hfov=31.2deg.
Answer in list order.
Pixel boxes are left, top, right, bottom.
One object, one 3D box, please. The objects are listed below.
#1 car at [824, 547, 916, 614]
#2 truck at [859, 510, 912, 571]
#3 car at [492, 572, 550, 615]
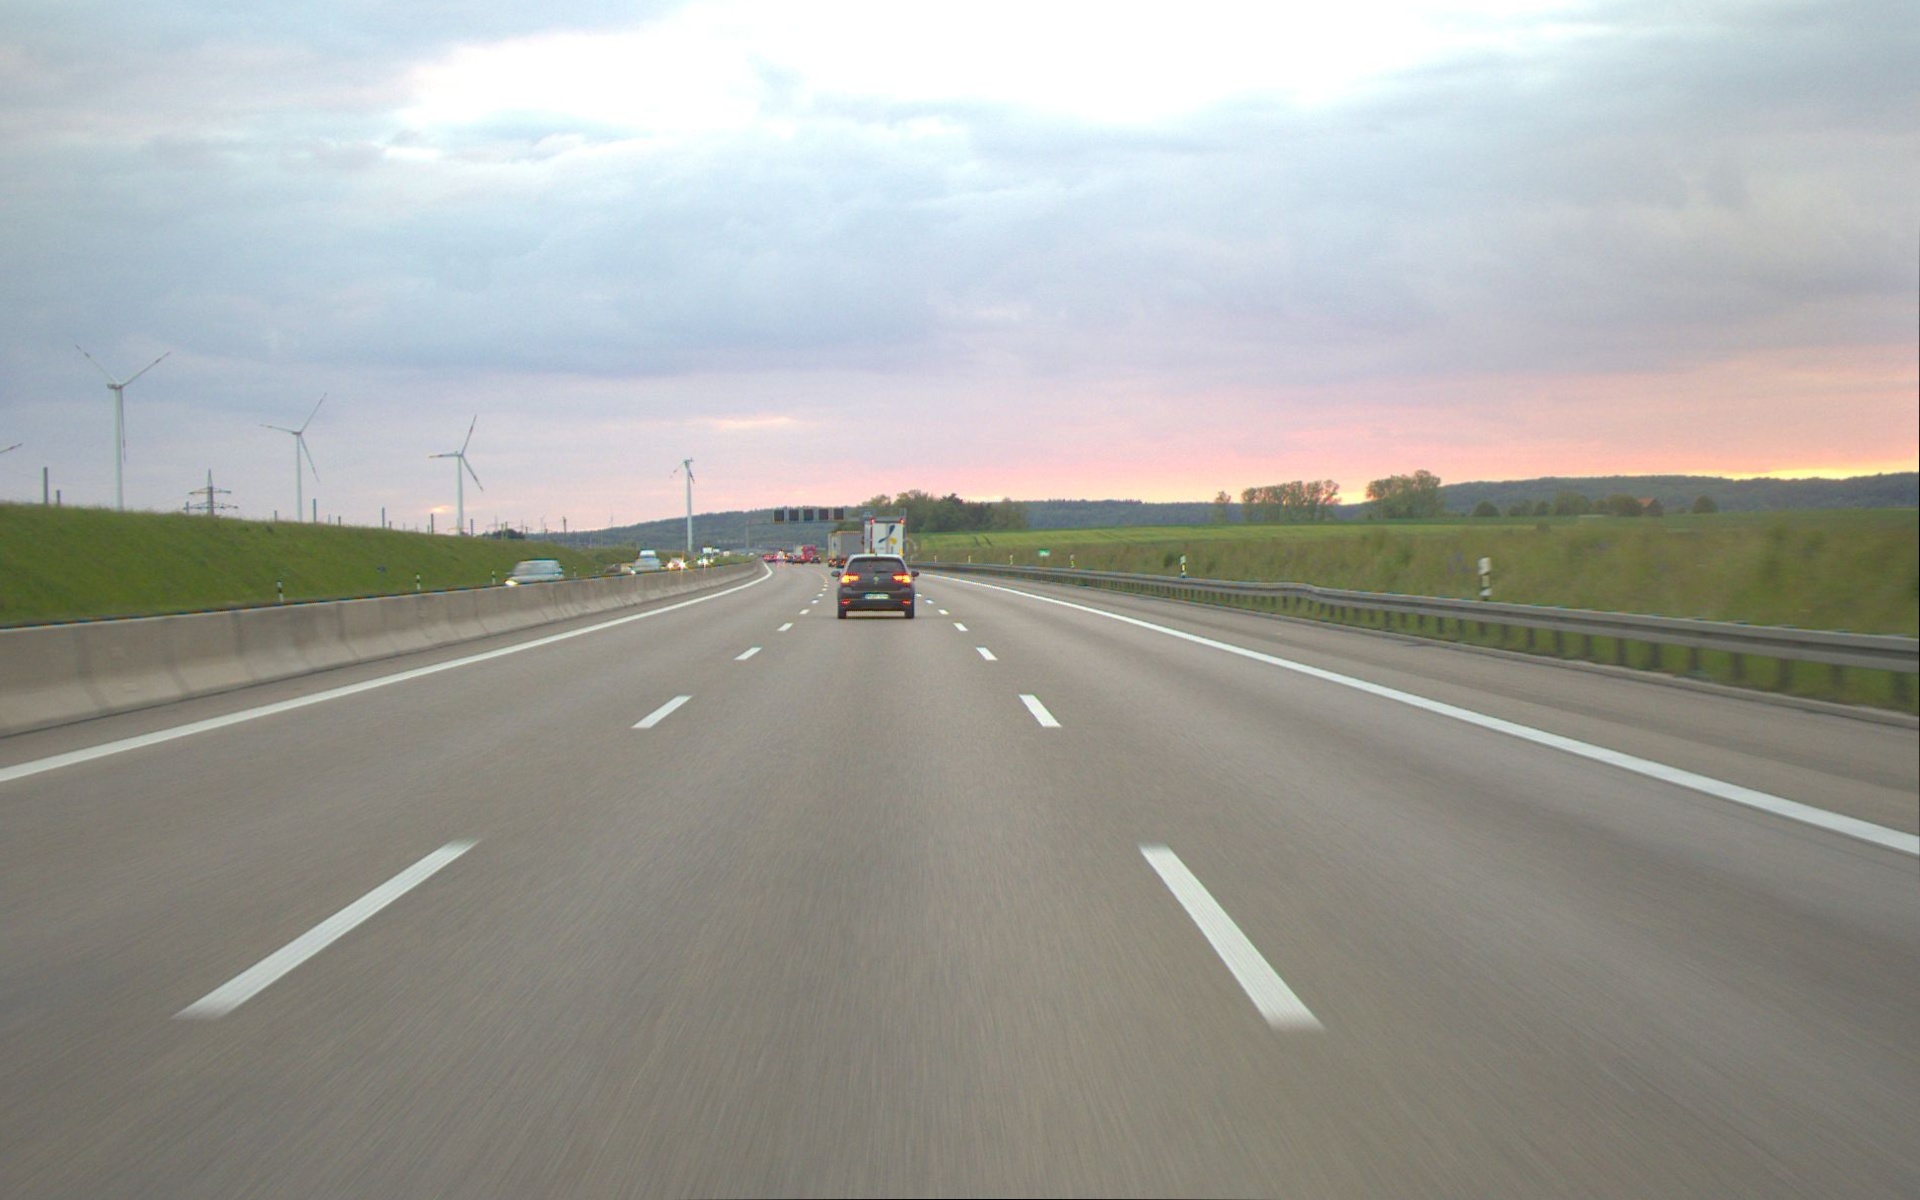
[{"bbox_3d":[-2.008,-0.456,77.559,1.987,1.425,4.000,-1,1,-1],"label":"car"},{"bbox_3d":[-5.799,-4.589,265.544,3.675,4.549,10.982,-1,1,-3],"label":"truck"},{"bbox_3d":[-14.900,-0.240,116.784,1.577,1.381,3.773,-1,1,-2],"label":"car"}]
